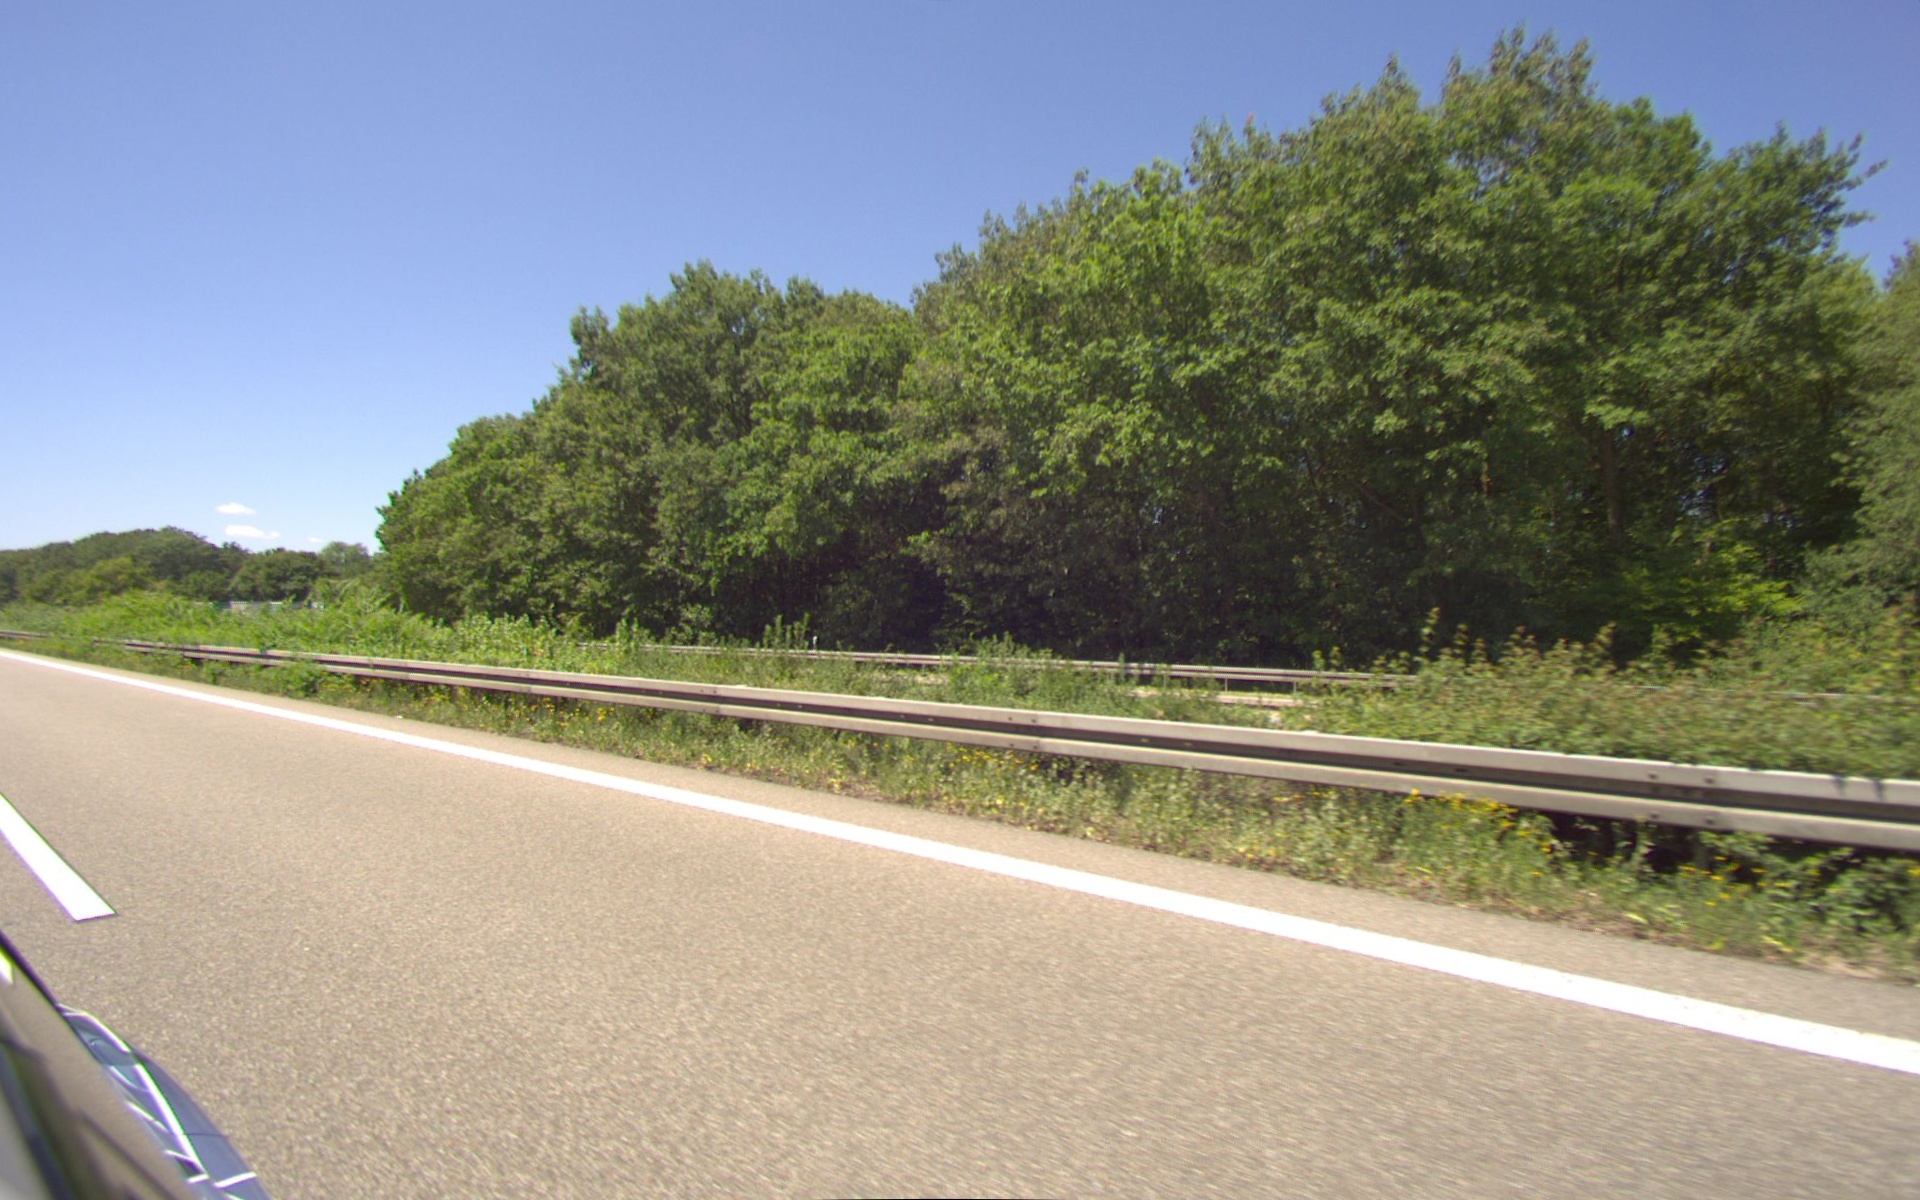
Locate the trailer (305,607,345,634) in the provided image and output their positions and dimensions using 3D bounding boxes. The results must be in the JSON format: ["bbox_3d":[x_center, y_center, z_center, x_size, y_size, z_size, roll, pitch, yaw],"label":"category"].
[{"bbox_3d":[-91.984,2.994,146.514,3.554,3.684,14.052,1,-2,-37],"label":"trailer"}]

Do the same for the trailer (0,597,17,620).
[{"bbox_3d":[-152.880,1.374,160.501,15.960,3.607,3.164,-1,0,41],"label":"trailer"}]

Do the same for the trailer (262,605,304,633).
[{"bbox_3d":[-116.643,3.272,174.251,3.558,4.627,14.034,2,-2,-44],"label":"trailer"}]

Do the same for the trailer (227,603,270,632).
[{"bbox_3d":[-106.233,2.565,150.972,3.178,4.167,14.062,-1,0,-44],"label":"trailer"}]

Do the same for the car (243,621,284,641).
[{"bbox_3d":[-60.090,2.683,87.291,3.997,1.606,1.951,-1,1,41],"label":"car"}]

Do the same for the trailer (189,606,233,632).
[{"bbox_3d":[-134.770,3.440,181.931,14.019,4.627,3.562,-1,-2,42],"label":"trailer"}]
